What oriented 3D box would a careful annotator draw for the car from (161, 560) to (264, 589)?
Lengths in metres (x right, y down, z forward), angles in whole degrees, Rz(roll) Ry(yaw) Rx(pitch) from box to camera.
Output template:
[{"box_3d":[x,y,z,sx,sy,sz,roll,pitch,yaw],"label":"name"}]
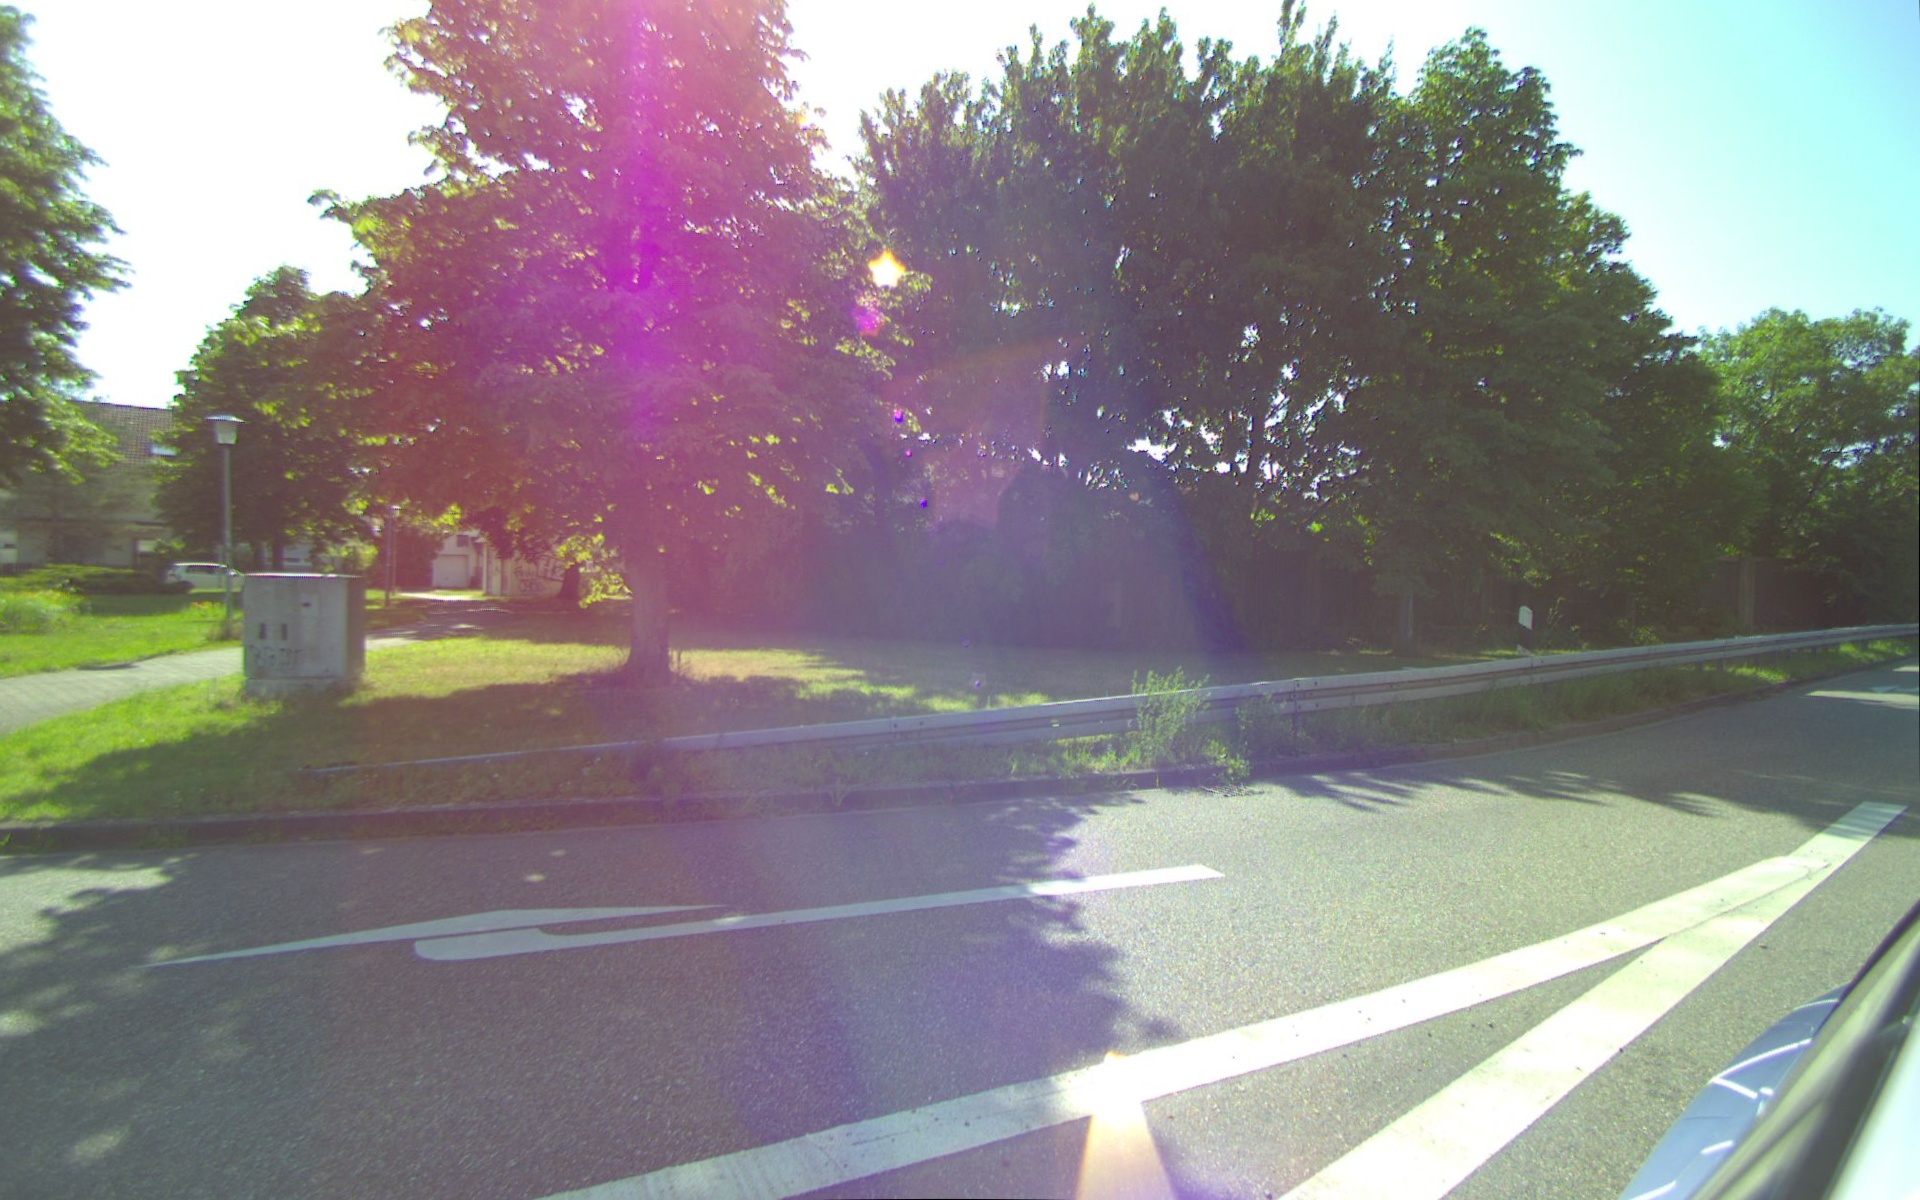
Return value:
[{"box_3d":[-36.042,-1.224,48.842,3.927,1.304,1.732,0,2,-38],"label":"car"}]
